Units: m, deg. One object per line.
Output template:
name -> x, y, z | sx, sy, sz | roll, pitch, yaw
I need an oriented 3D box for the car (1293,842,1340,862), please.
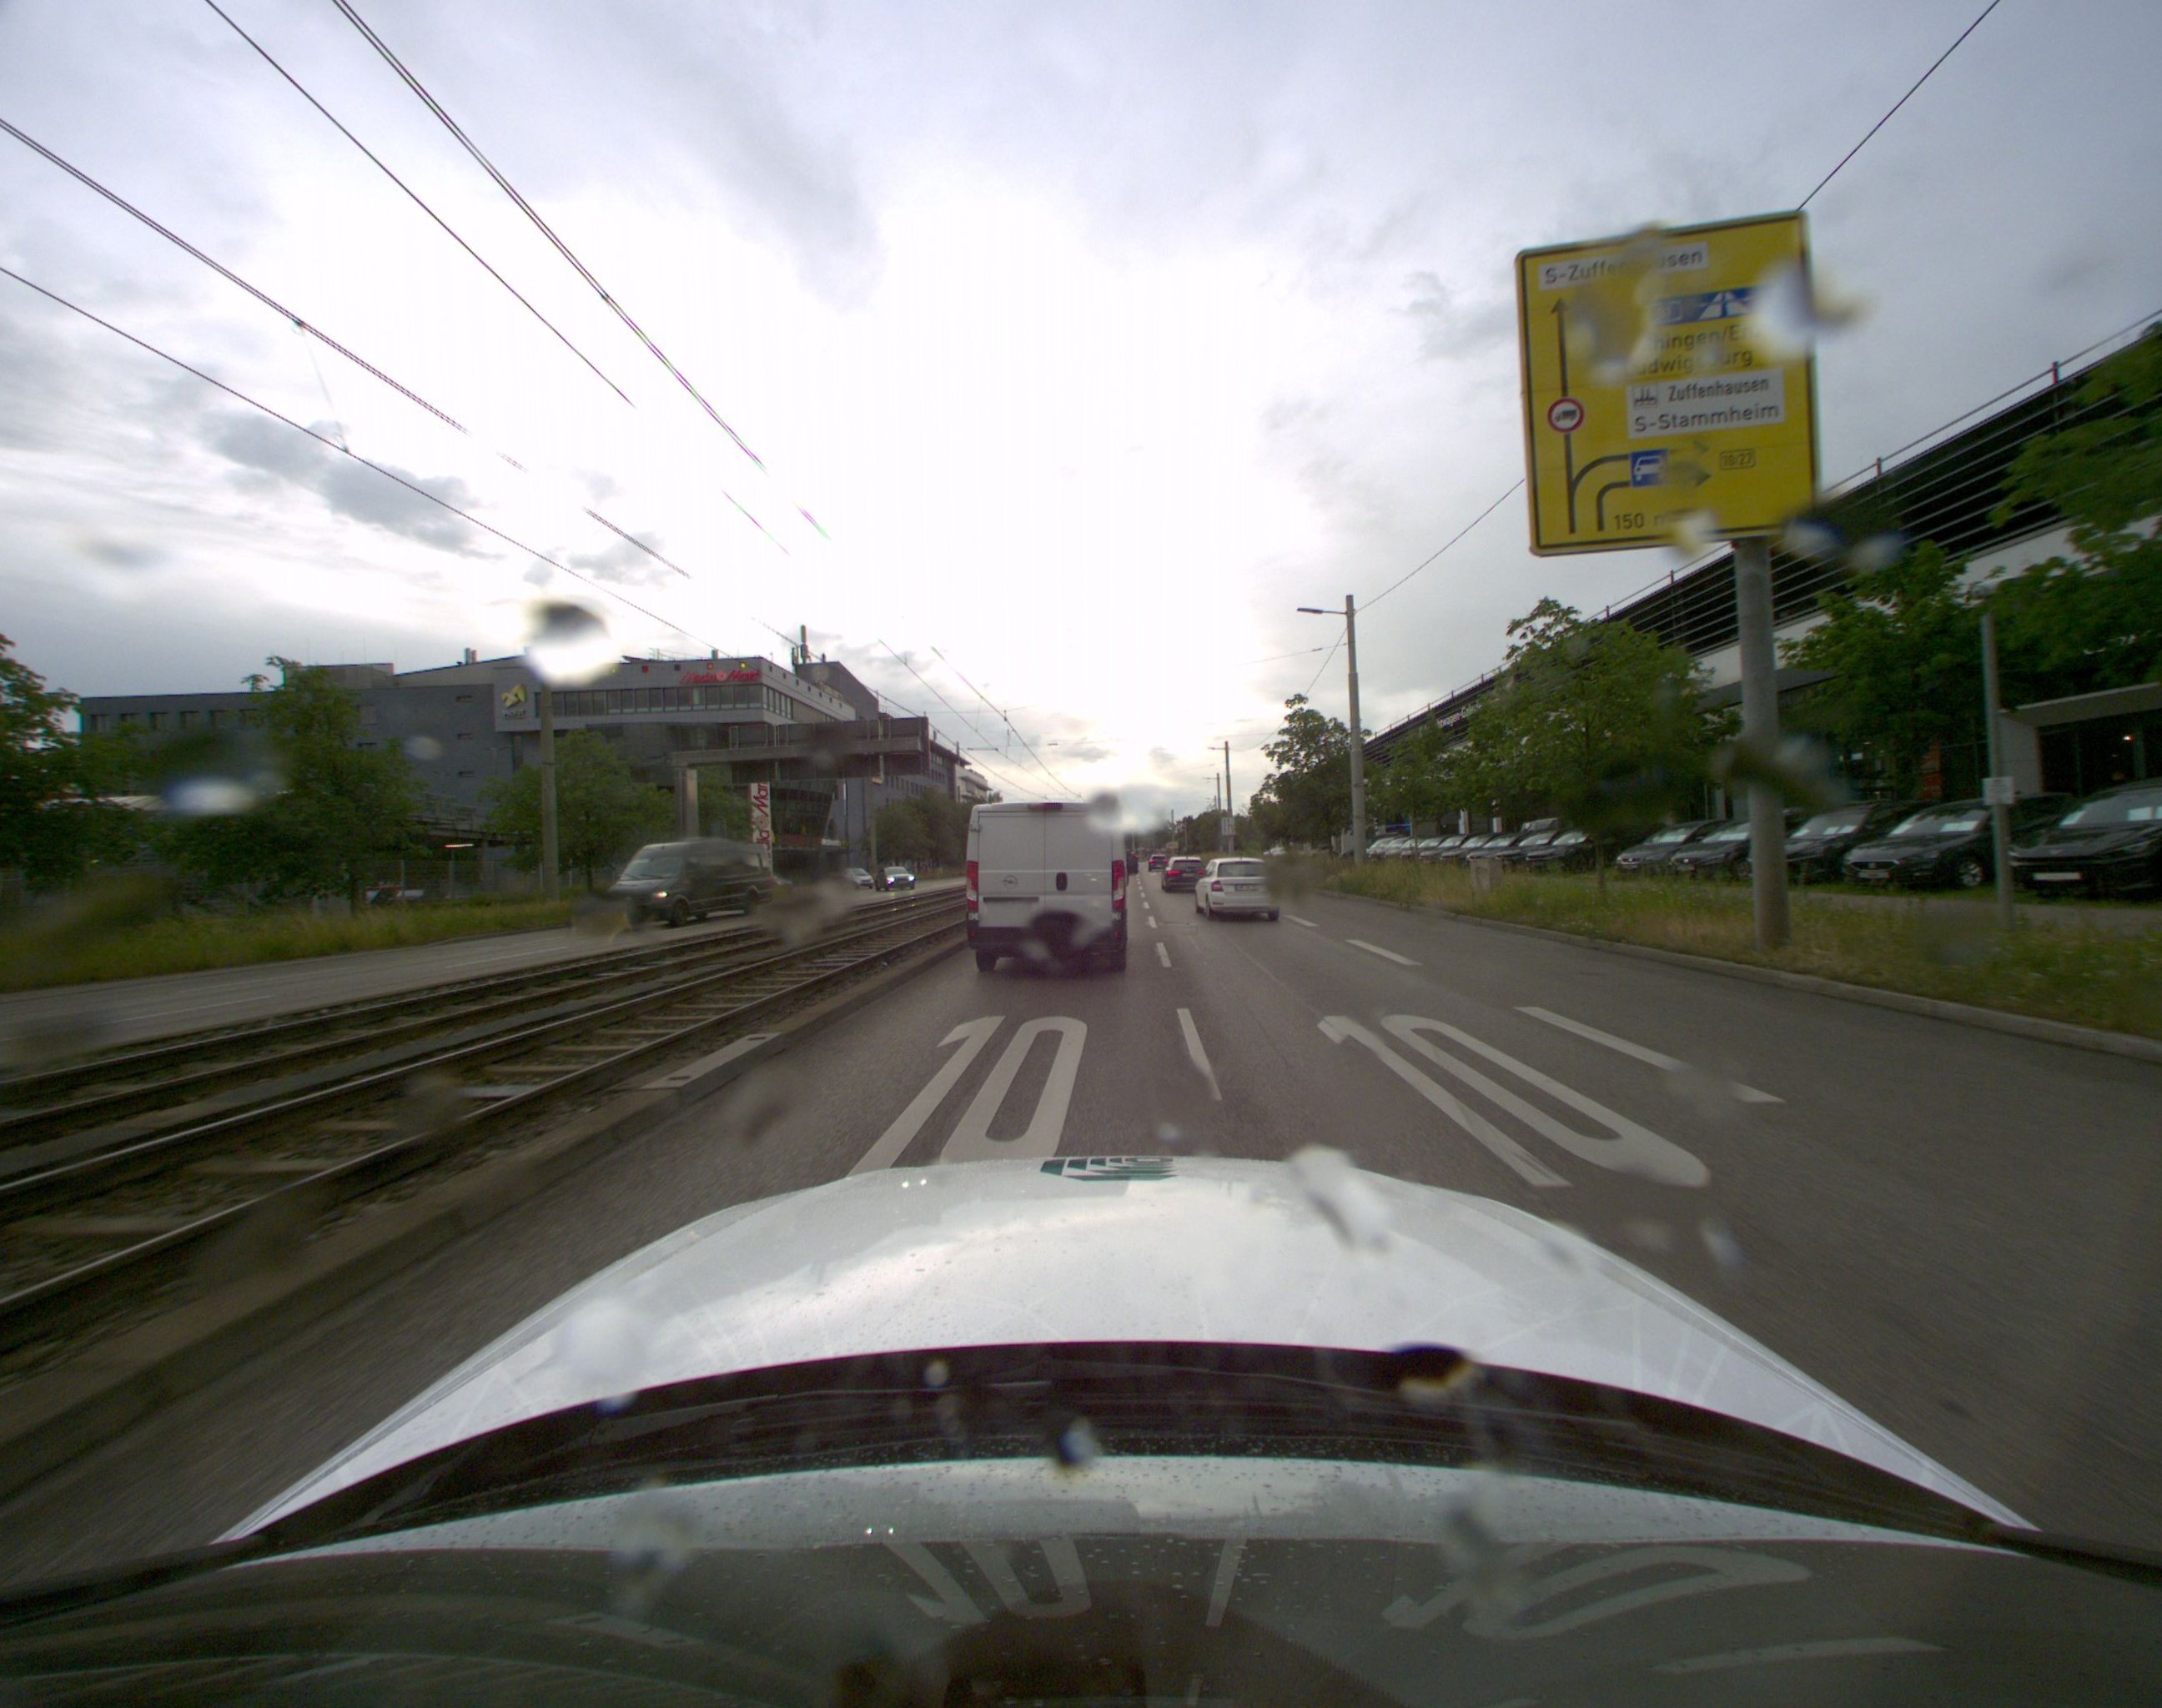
car -> 21.525, -0.199, 74.419 | 4.112, 1.465, 1.731 | -3, -2, -30

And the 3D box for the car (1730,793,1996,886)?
car -> 17.145, -0.305, 17.947 | 4.483, 1.663, 1.816 | -4, 0, -8

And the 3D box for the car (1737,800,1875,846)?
car -> 26.482, -1.070, 29.938 | 1.659, 1.473, 3.901 | -3, 0, 2

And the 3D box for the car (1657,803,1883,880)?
car -> 17.414, -0.311, 20.663 | 4.483, 1.569, 1.816 | -4, 0, -8

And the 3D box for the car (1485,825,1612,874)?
car -> 17.830, -0.169, 31.077 | 4.148, 1.534, 1.784 | -4, 0, -17

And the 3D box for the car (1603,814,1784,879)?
car -> 17.249, -0.209, 23.027 | 4.042, 1.501, 1.682 | -4, 0, -8

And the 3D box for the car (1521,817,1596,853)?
car -> 27.770, -1.072, 47.536 | 1.879, 1.938, 4.432 | -3, 0, 2

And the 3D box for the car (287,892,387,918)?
car -> -43.702, 2.975, 47.906 | 1.642, 1.282, 4.134 | 0, 0, 41

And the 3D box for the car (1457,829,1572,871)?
car -> 18.091, -0.169, 34.031 | 4.148, 1.458, 1.784 | -4, 0, -17

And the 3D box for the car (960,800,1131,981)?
car -> -0.285, 0.461, 12.485 | 2.081, 2.196, 5.065 | 0, 0, 3

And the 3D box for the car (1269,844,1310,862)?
car -> 21.486, -0.147, 83.873 | 4.116, 1.568, 1.780 | -3, -2, -33

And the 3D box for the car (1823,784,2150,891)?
car -> 17.078, -0.299, 15.484 | 4.479, 1.619, 1.817 | -4, 0, -6

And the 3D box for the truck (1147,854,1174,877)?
truck -> 6.922, 0.983, 71.606 | 1.986, 1.790, 4.416 | -3, 0, 2

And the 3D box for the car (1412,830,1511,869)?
car -> 18.438, -0.194, 39.463 | 4.153, 1.569, 1.896 | -4, 0, -20

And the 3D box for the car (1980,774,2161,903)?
car -> 16.962, -0.347, 12.633 | 4.484, 1.795, 1.816 | -4, 0, -9

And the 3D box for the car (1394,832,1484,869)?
car -> 18.605, -0.180, 42.348 | 4.155, 1.569, 1.813 | -4, 0, -22

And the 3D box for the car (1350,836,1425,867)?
car -> 19.147, -0.138, 50.882 | 4.344, 1.612, 1.854 | -4, 0, -26

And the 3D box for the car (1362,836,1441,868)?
car -> 18.892, -0.127, 47.991 | 4.157, 1.562, 1.855 | -4, 0, -23

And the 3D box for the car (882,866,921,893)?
car -> -10.955, 1.545, 50.030 | 1.800, 1.429, 4.226 | -4, 0, -6

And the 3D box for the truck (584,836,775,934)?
truck -> -12.460, 0.886, 26.112 | 2.230, 2.564, 7.018 | -4, -1, 2

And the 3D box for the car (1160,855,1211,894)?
car -> 4.268, 0.806, 33.676 | 1.782, 1.449, 4.003 | -1, 0, 3

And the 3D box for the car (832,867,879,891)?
car -> -16.402, 1.840, 59.303 | 2.912, 1.536, 1.614 | -3, 2, 31

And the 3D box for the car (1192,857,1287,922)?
car -> 3.808, 0.808, 20.157 | 1.740, 1.457, 3.672 | 0, 0, 1

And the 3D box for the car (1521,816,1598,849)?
car -> 32.439, -1.424, 55.268 | 4.010, 1.976, 1.946 | -3, -1, 3

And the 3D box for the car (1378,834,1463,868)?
car -> 18.822, -0.155, 45.163 | 4.155, 1.604, 1.813 | -4, 0, -22

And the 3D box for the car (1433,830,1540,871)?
car -> 18.250, -0.142, 36.698 | 4.148, 1.528, 1.821 | -4, 0, -17

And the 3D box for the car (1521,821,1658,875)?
car -> 17.654, -0.204, 28.322 | 4.053, 1.576, 1.723 | -4, 0, -17
